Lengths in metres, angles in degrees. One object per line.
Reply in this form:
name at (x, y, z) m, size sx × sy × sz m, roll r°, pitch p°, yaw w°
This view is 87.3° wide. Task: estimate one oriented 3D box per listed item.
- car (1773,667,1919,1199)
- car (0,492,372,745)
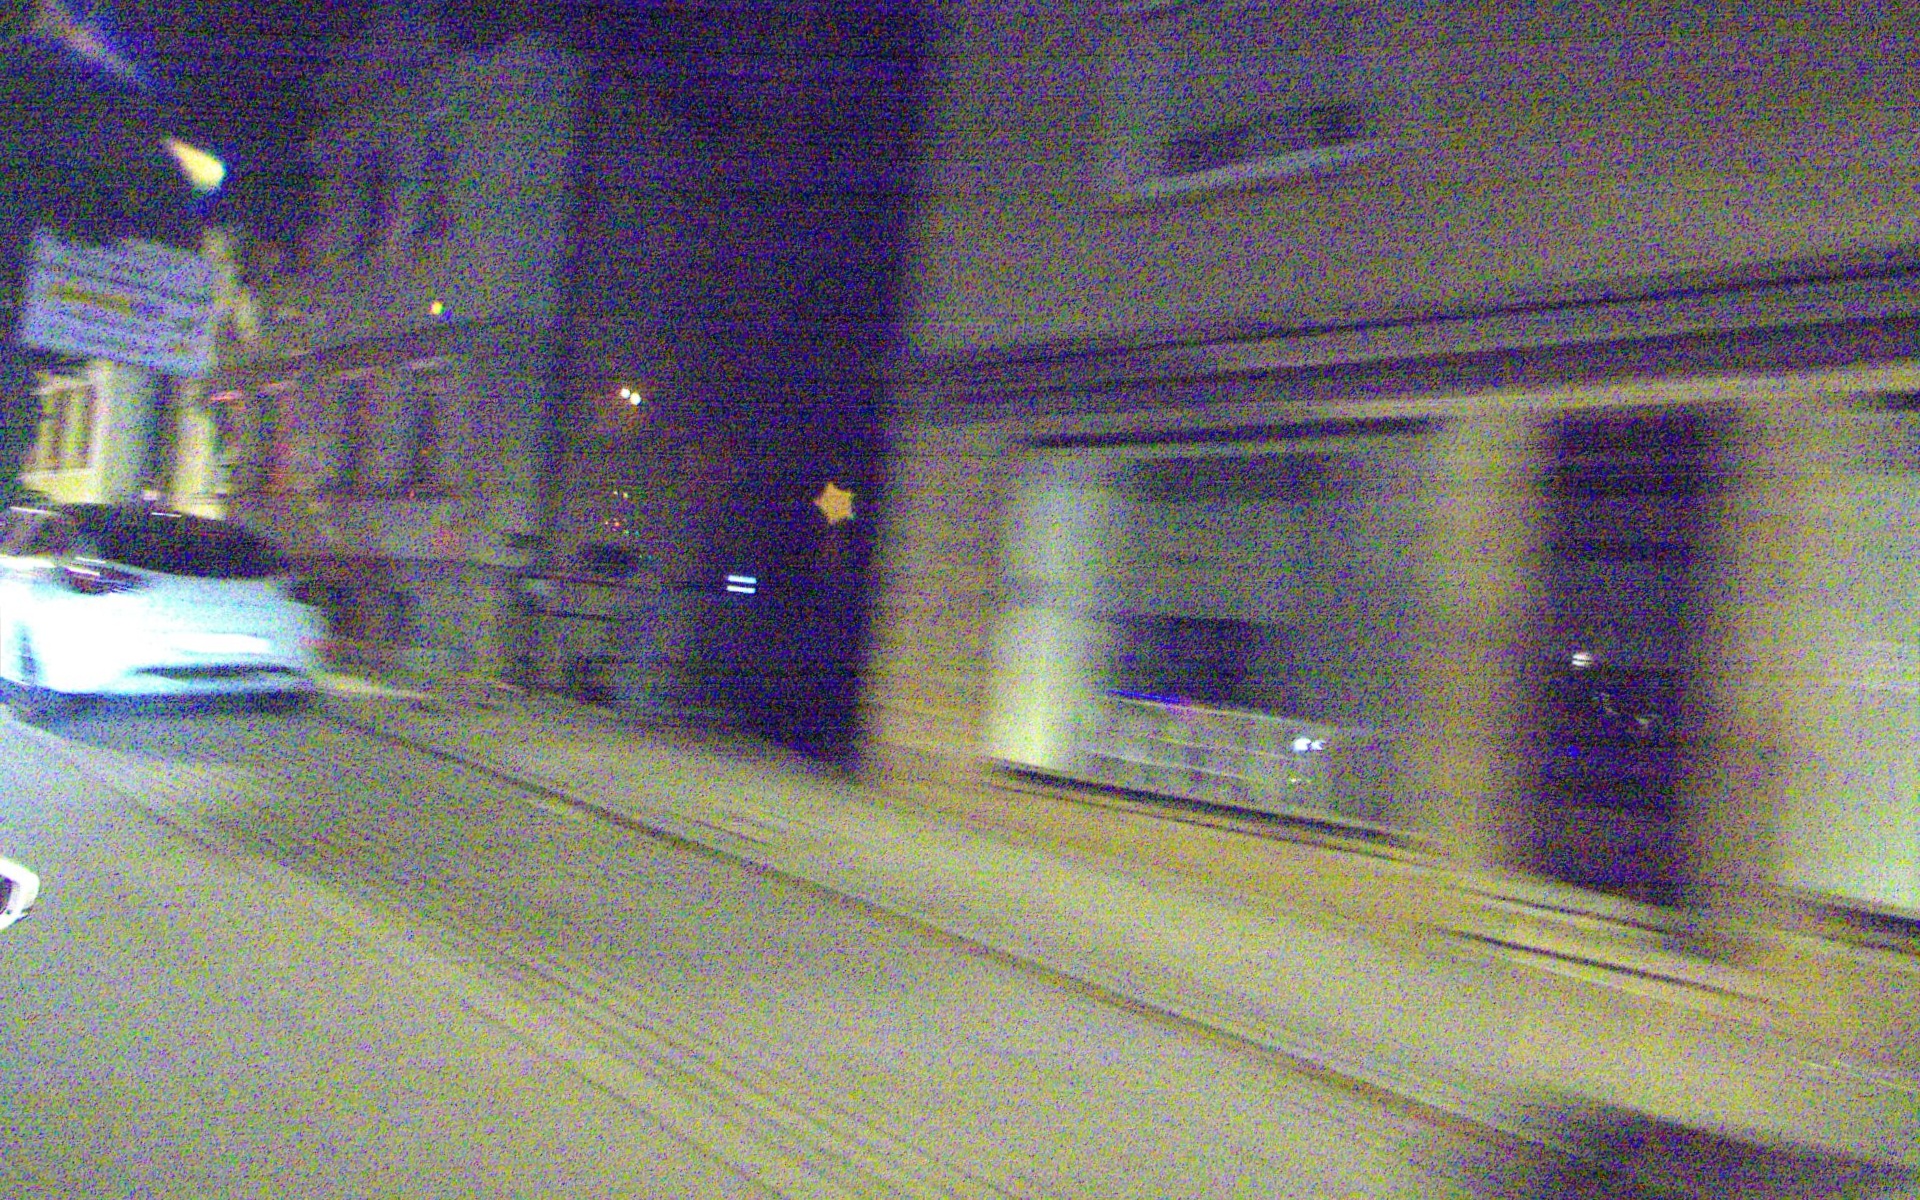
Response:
car at (3.682, 1.143, 0.943) m, size 4.290 × 1.617 × 1.738 m, roll 6°, pitch 0°, yaw 35°
car at (-6.898, 0.025, 8.261) m, size 3.979 × 1.573 × 1.861 m, roll 6°, pitch 0°, yaw 32°
